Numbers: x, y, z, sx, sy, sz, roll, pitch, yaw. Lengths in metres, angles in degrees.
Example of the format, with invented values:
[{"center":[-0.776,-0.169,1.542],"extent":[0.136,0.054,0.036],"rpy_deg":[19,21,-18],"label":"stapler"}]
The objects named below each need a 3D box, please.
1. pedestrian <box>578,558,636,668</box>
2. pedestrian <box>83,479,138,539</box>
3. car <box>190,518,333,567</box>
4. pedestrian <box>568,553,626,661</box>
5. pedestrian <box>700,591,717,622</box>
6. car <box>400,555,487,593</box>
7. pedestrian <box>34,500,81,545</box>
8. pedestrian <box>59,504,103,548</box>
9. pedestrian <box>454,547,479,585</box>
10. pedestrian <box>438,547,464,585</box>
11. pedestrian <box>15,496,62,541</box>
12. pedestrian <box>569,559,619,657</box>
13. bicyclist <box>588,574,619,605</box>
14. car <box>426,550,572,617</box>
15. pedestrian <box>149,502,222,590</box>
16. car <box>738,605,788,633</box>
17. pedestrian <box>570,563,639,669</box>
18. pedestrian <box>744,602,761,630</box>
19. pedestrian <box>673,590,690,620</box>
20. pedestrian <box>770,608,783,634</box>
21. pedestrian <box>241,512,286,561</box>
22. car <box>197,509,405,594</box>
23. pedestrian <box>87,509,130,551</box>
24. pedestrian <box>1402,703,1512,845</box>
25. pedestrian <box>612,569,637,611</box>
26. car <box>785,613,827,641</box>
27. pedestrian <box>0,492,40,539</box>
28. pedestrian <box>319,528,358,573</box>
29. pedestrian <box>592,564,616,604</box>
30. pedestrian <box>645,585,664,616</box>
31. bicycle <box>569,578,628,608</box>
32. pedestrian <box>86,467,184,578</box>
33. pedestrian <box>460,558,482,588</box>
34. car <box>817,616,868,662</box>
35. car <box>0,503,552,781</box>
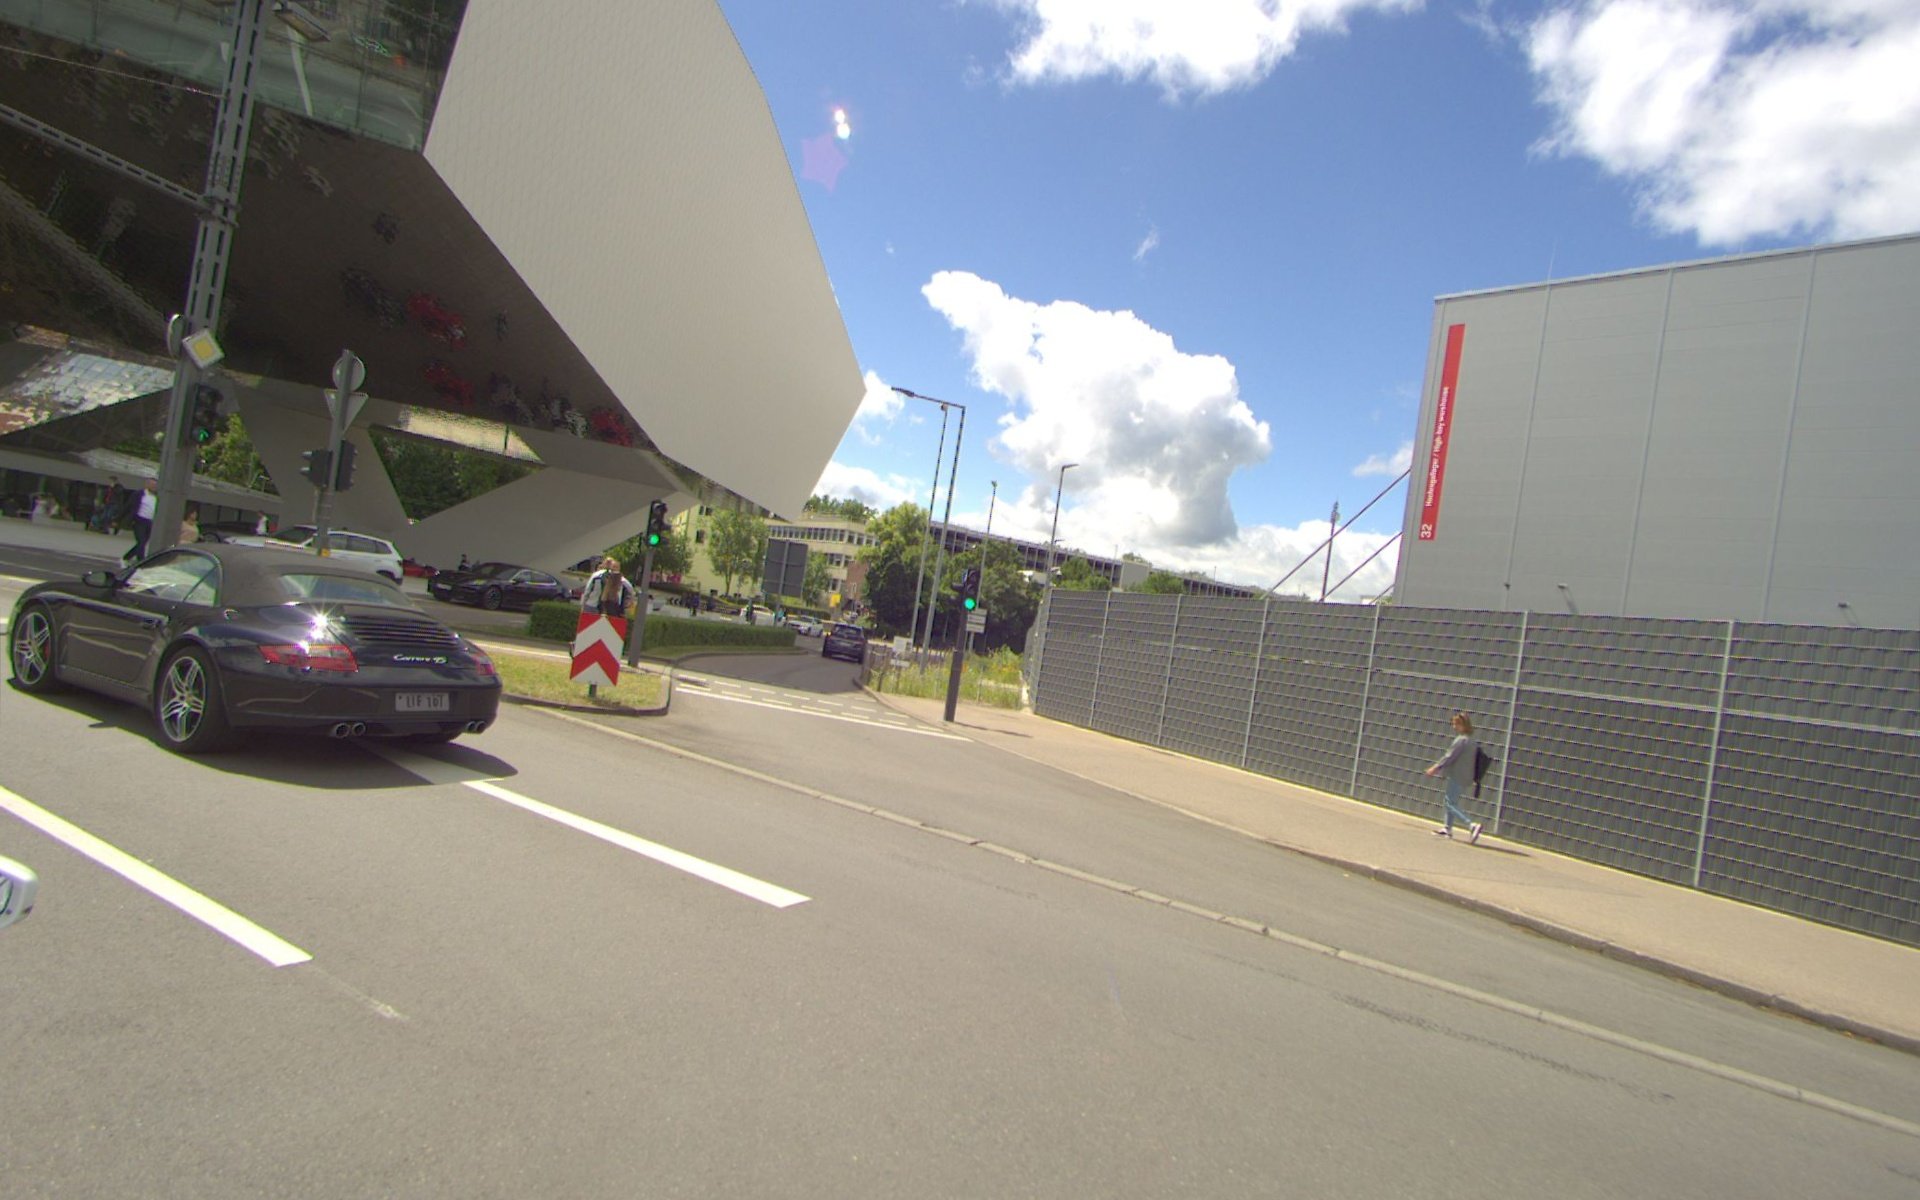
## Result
[{"center":[-6.149,0.228,17.516],"extent":[0.665,1.814,0.616],"rpy_deg":[9,-2,-26],"label":"pedestrian"},{"center":[-29.166,-3.120,34.560],"extent":[0.906,1.846,0.832],"rpy_deg":[7,-2,8],"label":"pedestrian"},{"center":[-30.349,-2.455,43.878],"extent":[4.610,1.234,1.995],"rpy_deg":[9,-3,-16],"label":"car"},{"center":[-6.603,0.129,18.300],"extent":[0.666,1.867,0.616],"rpy_deg":[9,-2,-28],"label":"pedestrian"},{"center":[-17.829,0.459,71.235],"extent":[0.763,2.036,0.828],"rpy_deg":[8,-2,-1],"label":"pedestrian"},{"center":[-30.478,-1.524,59.502],"extent":[1.968,1.565,3.996],"rpy_deg":[6,-4,33],"label":"car"},{"center":[-36.141,-3.102,40.298],"extent":[0.906,1.590,0.832],"rpy_deg":[7,-2,8],"label":"pedestrian"},{"center":[-36.432,-3.060,41.705],"extent":[0.906,1.590,0.832],"rpy_deg":[7,-2,8],"label":"pedestrian"},{"center":[-28.557,-1.943,58.247],"extent":[0.763,2.036,0.828],"rpy_deg":[8,-2,-1],"label":"pedestrian"},{"center":[-29.571,-1.983,58.455],"extent":[0.763,2.036,0.828],"rpy_deg":[8,-2,-1],"label":"pedestrian"},{"center":[-37.039,-3.252,40.448],"extent":[0.906,1.590,0.832],"rpy_deg":[7,-2,8],"label":"pedestrian"},{"center":[-7.025,0.150,19.289],"extent":[0.600,1.779,0.616],"rpy_deg":[9,-2,-27],"label":"pedestrian"},{"center":[-16.266,-0.477,45.938],"extent":[0.998,1.289,0.879],"rpy_deg":[9,-3,-34],"label":"bicyclist"},{"center":[-14.285,-0.460,31.434],"extent":[1.804,1.398,4.166],"rpy_deg":[9,-3,14],"label":"car"},{"center":[-14.675,-1.012,19.084],"extent":[0.760,1.513,0.582],"rpy_deg":[8,-2,-16],"label":"pedestrian"},{"center":[-18.458,1.792,94.379],"extent":[4.156,2.035,1.992],"rpy_deg":[9,-3,-21],"label":"car"},{"center":[-5.910,0.283,16.758],"extent":[0.660,1.656,0.621],"rpy_deg":[7,-2,9],"label":"pedestrian"},{"center":[-16.268,1.269,78.954],"extent":[0.821,2.036,0.769],"rpy_deg":[9,-3,-37],"label":"pedestrian"},{"center":[-20.362,0.378,73.494],"extent":[0.763,2.036,0.828],"rpy_deg":[8,-2,-1],"label":"pedestrian"},{"center":[-15.678,1.802,86.128],"extent":[0.813,2.036,0.776],"rpy_deg":[8,-2,-7],"label":"pedestrian"},{"center":[-26.983,-2.468,38.969],"extent":[0.906,1.695,0.832],"rpy_deg":[7,-2,8],"label":"pedestrian"},{"center":[-16.697,-1.169,25.721],"extent":[1.805,1.568,4.000],"rpy_deg":[7,-1,23],"label":"car"},{"center":[-36.093,-2.955,42.650],"extent":[0.906,1.590,0.832],"rpy_deg":[7,-2,14],"label":"pedestrian"},{"center":[6.290,2.186,12.737],"extent":[0.691,1.604,0.911],"rpy_deg":[9,-3,-41],"label":"pedestrian"},{"center":[-17.120,-0.522,51.310],"extent":[0.770,2.036,0.820],"rpy_deg":[9,-3,-35],"label":"pedestrian"},{"center":[-11.669,2.060,76.567],"extent":[1.851,1.660,4.008],"rpy_deg":[7,-3,8],"label":"car"},{"center":[-36.811,-3.290,39.225],"extent":[0.906,1.590,0.832],"rpy_deg":[7,-2,8],"label":"pedestrian"},{"center":[-24.306,-1.931,39.382],"extent":[0.788,1.558,0.788],"rpy_deg":[7,-2,13],"label":"pedestrian"},{"center":[-19.508,-0.851,55.085],"extent":[0.763,2.036,0.828],"rpy_deg":[8,-2,-1],"label":"pedestrian"},{"center":[-21.776,0.022,71.809],"extent":[0.762,2.036,0.829],"rpy_deg":[7,-2,6],"label":"pedestrian"},{"center":[-16.478,-0.319,45.843],"extent":[2.337,0.983,0.712],"rpy_deg":[10,-3,-34],"label":"bicycle"},{"center":[-16.972,-1.598,20.702],"extent":[1.358,2.007,0.955],"rpy_deg":[9,-1,33],"label":"pedestrian"},{"center":[-31.315,-1.695,64.421],"extent":[0.762,1.758,0.828],"rpy_deg":[8,-2,2],"label":"pedestrian"},{"center":[-5.257,1.763,45.143],"extent":[1.965,1.721,4.001],"rpy_deg":[8,-3,-6],"label":"car"},{"center":[-5.190,0.225,7.483],"extent":[3.931,1.341,1.838],"rpy_deg":[7,-1,29],"label":"car"}]
